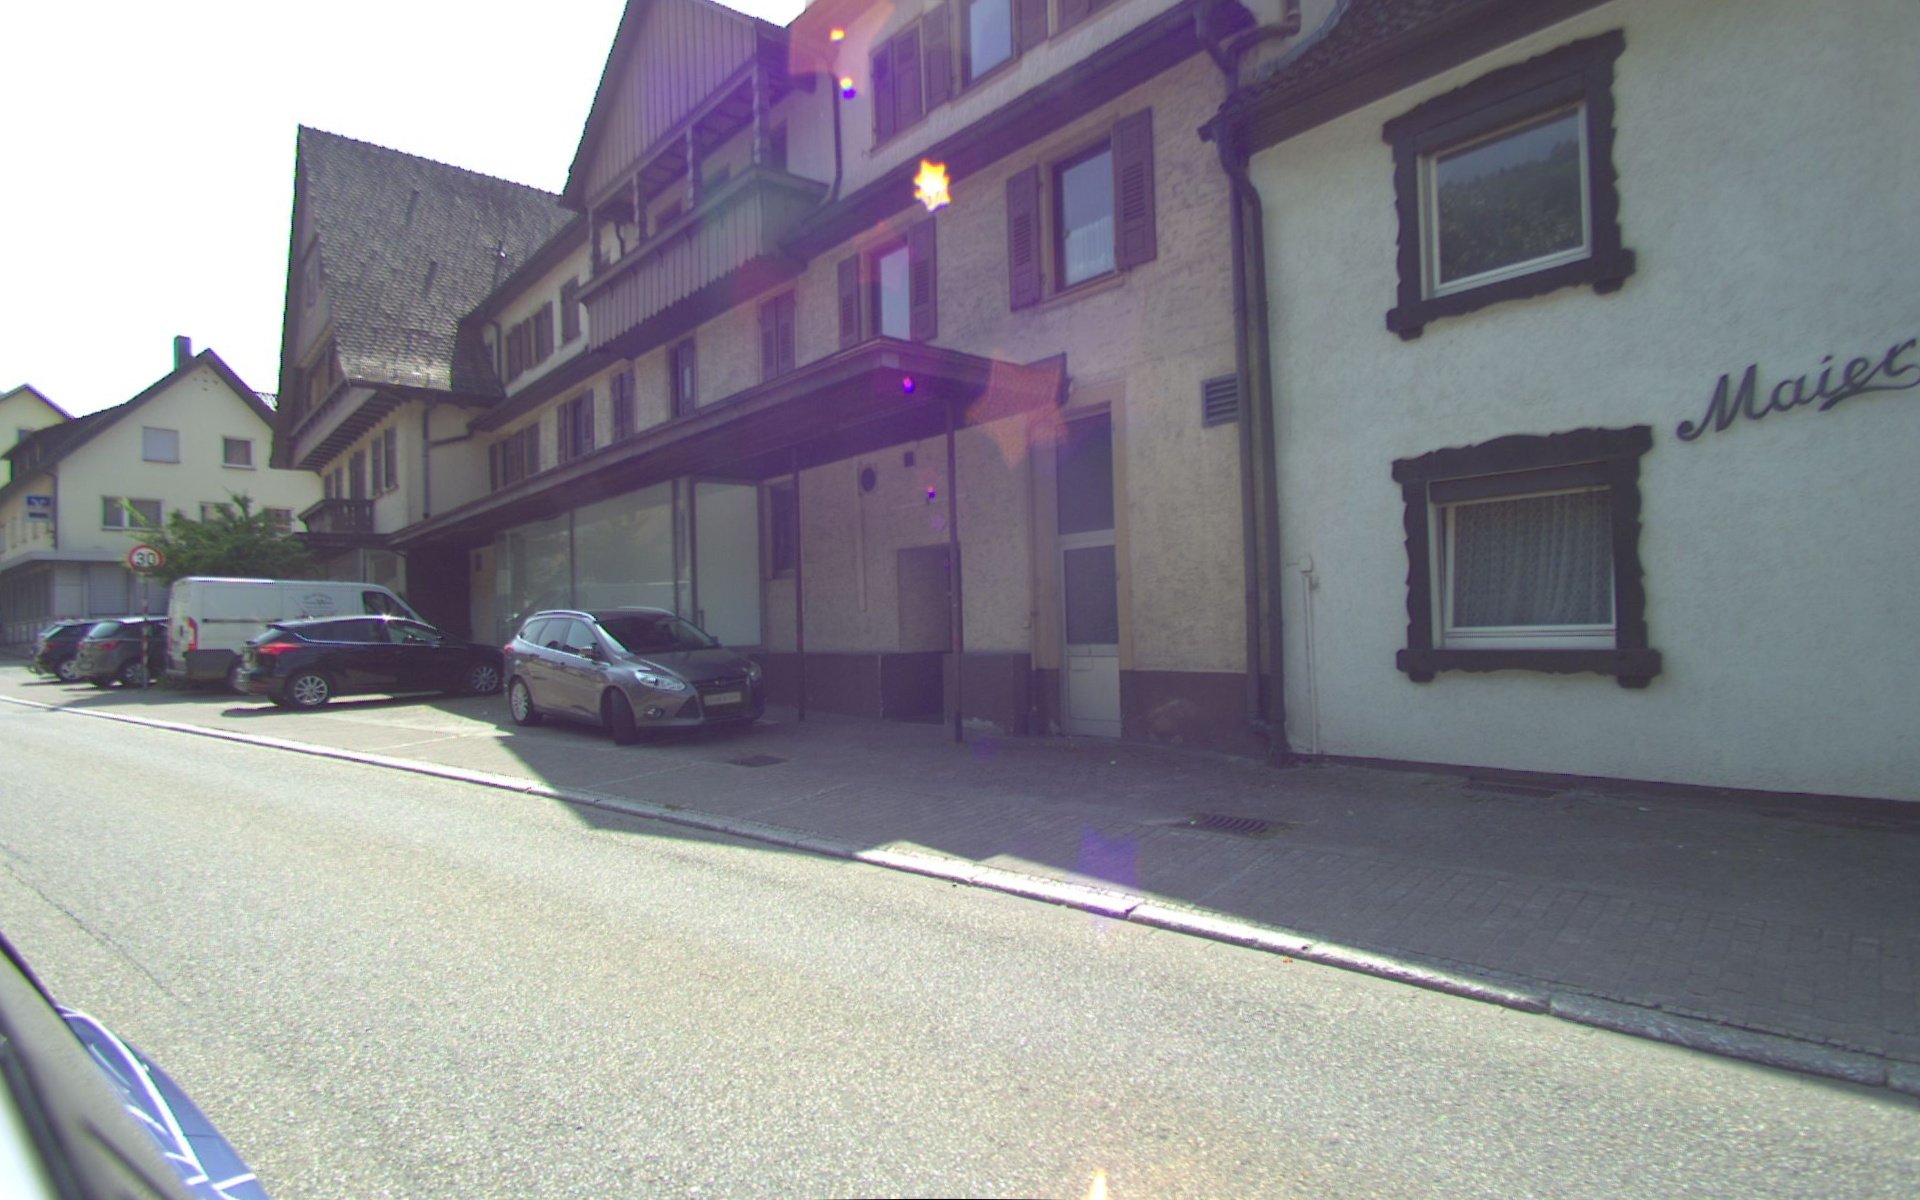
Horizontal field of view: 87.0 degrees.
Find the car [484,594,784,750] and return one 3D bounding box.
[{"bbox_3d":[-4.151,0.771,12.475,1.749,1.565,4.288,-1,0,-45],"label":"car"}]

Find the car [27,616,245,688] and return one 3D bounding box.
[{"bbox_3d":[-19.731,1.234,24.381,3.937,1.584,1.579,2,-3,-41],"label":"car"}]

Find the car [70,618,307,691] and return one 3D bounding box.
[{"bbox_3d":[-17.016,1.182,22.454,1.628,1.464,3.943,-1,-3,43],"label":"car"}]

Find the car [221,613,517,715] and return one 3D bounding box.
[{"bbox_3d":[-9.885,0.987,17.127,4.047,1.514,1.755,0,-2,-44],"label":"car"}]

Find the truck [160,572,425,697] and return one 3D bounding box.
[{"bbox_3d":[-13.473,0.619,20.590,2.000,2.283,4.121,-1,0,42],"label":"truck"}]
